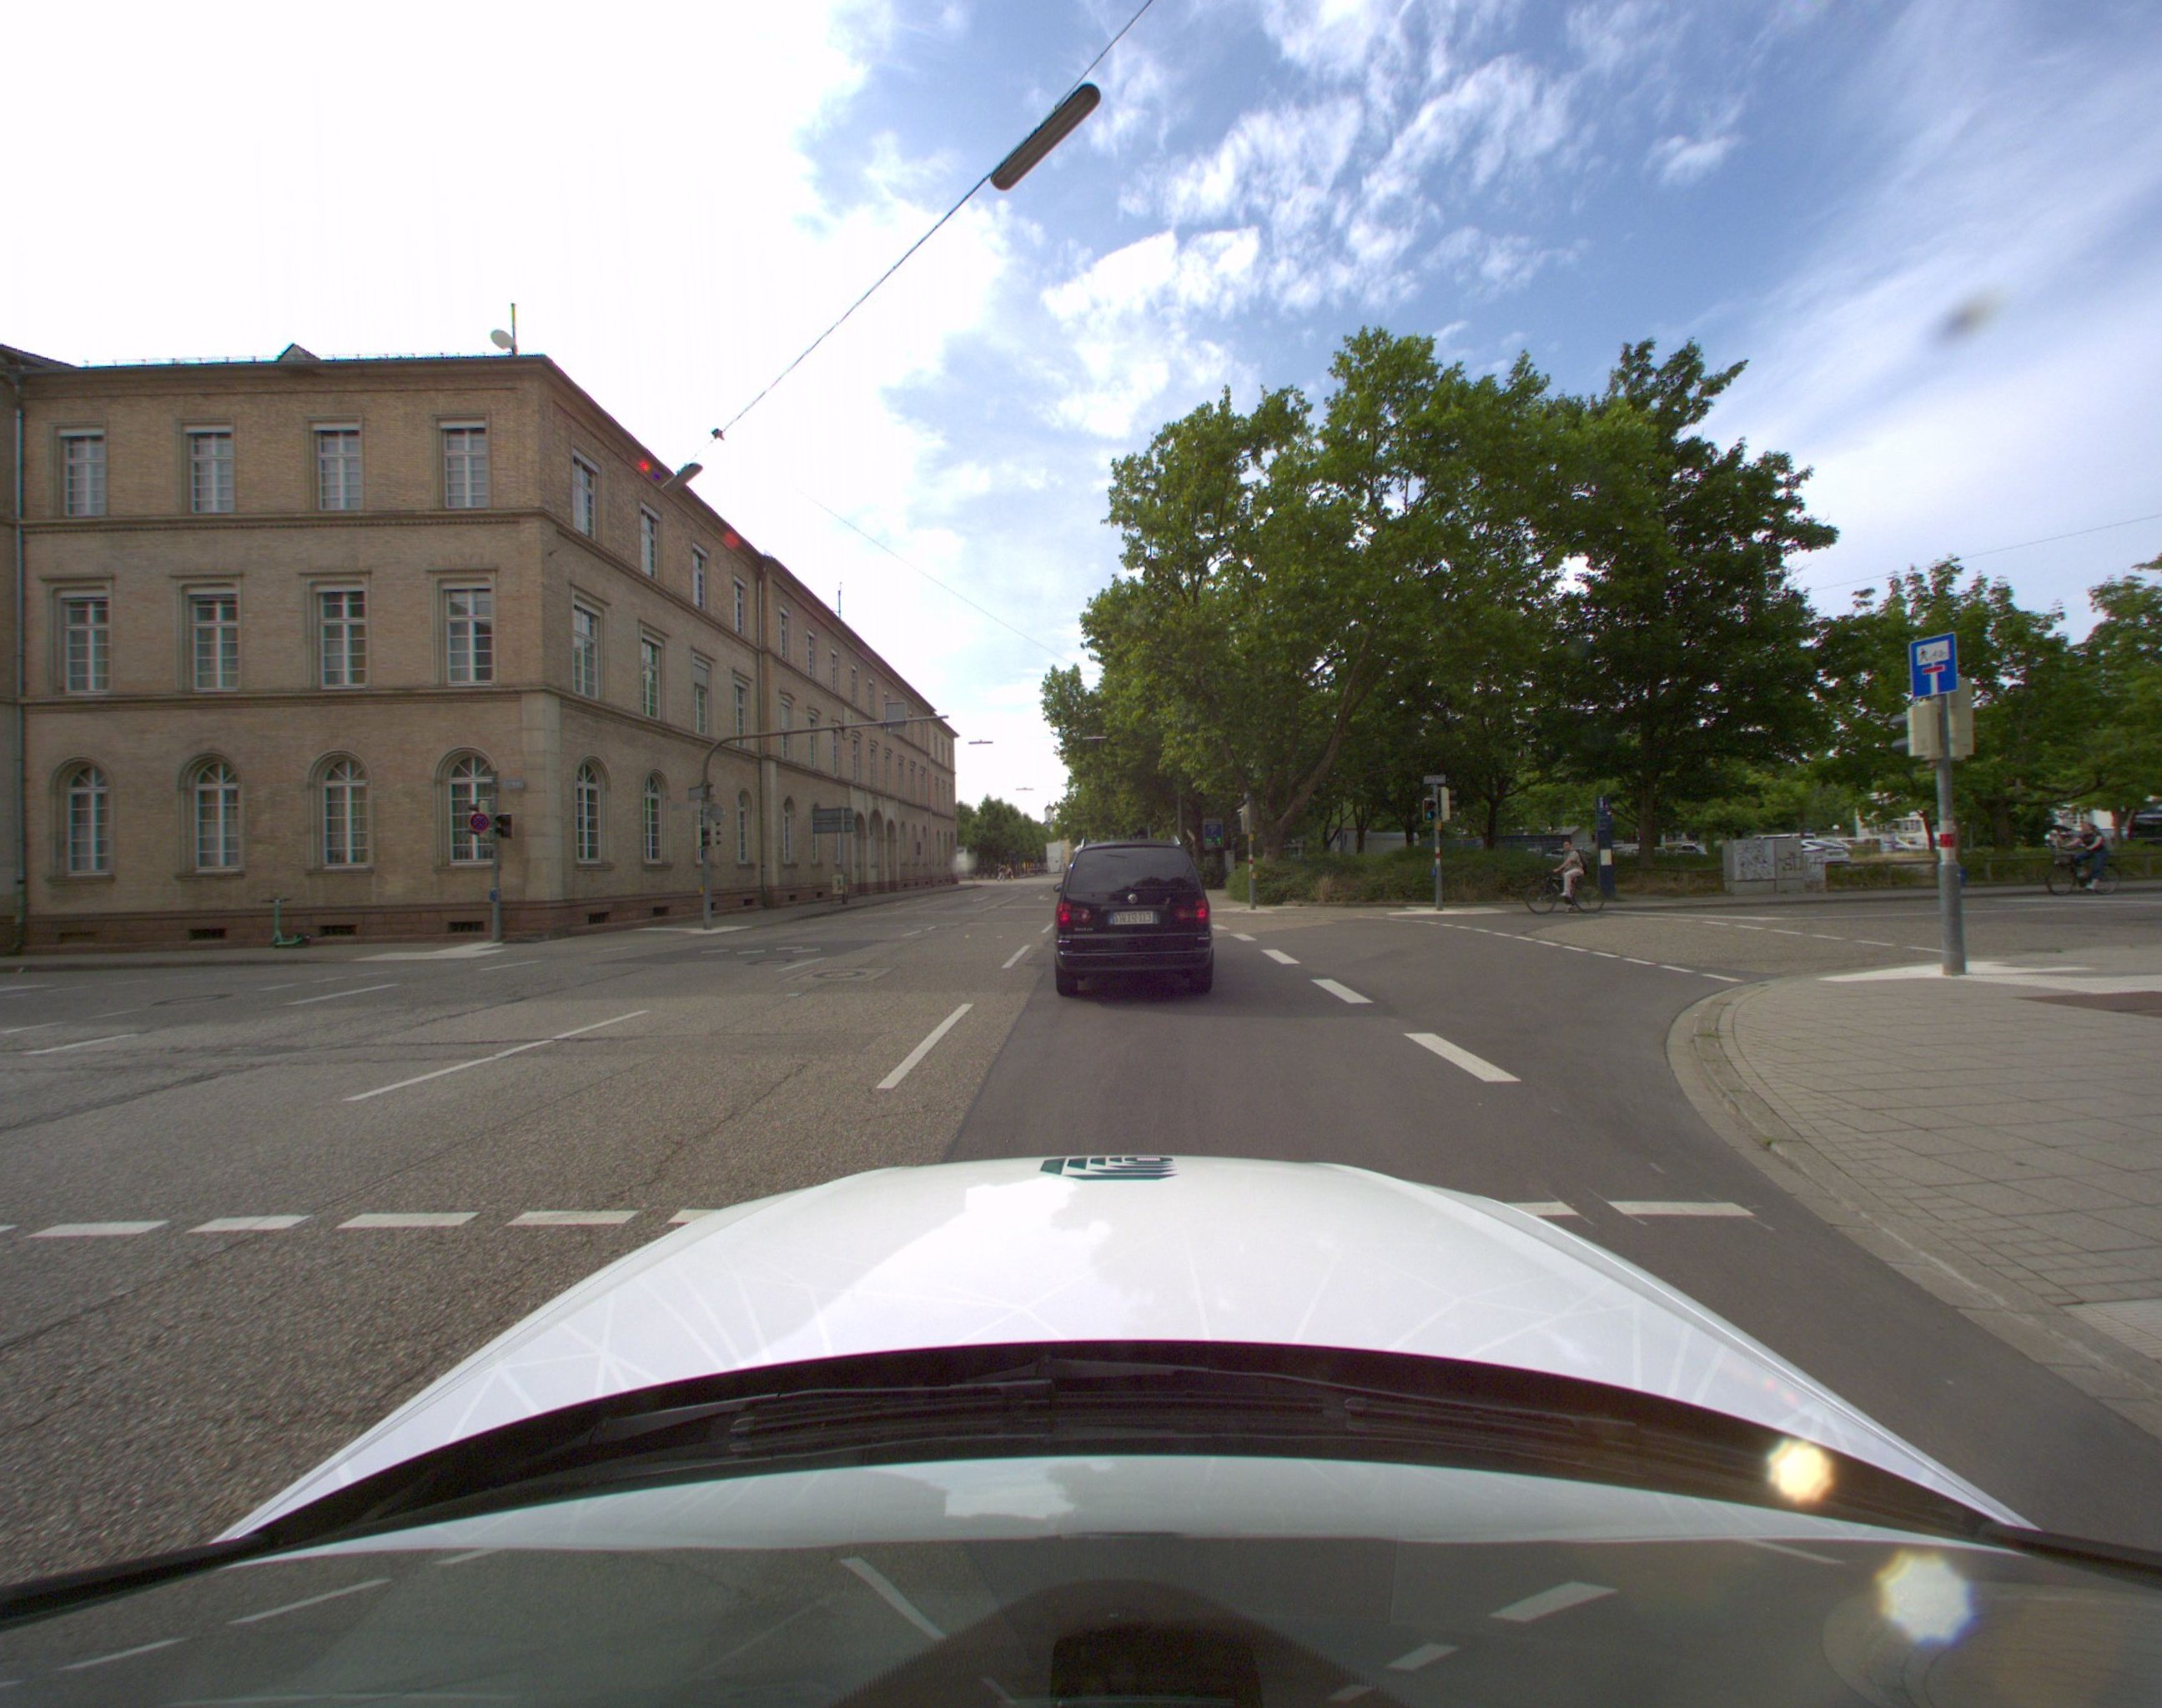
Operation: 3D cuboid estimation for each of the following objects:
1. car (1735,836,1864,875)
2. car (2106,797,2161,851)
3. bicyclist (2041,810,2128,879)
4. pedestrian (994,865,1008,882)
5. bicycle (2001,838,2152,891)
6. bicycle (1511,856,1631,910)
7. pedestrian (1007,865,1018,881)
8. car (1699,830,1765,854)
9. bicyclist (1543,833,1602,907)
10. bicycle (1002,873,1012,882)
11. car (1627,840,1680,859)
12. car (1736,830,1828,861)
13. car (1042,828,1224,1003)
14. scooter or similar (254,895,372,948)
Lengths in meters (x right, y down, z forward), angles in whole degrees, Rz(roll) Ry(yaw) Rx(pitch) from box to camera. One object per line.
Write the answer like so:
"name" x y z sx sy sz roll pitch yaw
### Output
"car" 34.429 0.096 39.234 1.988 1.794 4.770 0 -1 -1
"car" 54.156 -1.481 39.314 2.428 2.614 5.494 0 -1 -1
"bicyclist" 23.790 -0.213 19.325 0.825 1.577 0.917 -2 -2 6
"pedestrian" -8.399 2.018 85.647 0.952 1.741 1.262 0 -1 20
"bicycle" 23.565 0.265 19.324 2.233 1.172 0.917 -2 -2 6
"bicycle" 11.526 0.685 19.227 2.233 1.172 0.917 -2 -2 6
"pedestrian" -7.141 2.010 85.400 0.888 1.641 0.856 0 -1 19
"car" 57.785 -1.059 72.375 1.988 2.014 4.770 0 -1 -1
"bicyclist" 11.596 0.379 19.236 0.825 1.678 0.917 -2 -2 6
"bicycle" -9.806 3.128 107.898 0.954 1.110 2.565 0 -1 -16
"car" 50.560 -0.358 72.067 1.988 1.580 3.787 0 -1 -1
"car" 47.840 -0.518 55.730 1.989 2.014 4.767 0 -1 -3
"car" 0.565 0.646 10.316 1.787 1.708 4.131 -2 -1 1
"scooter or similar" -17.595 1.537 18.667 2.356 1.165 0.561 0 -1 7
